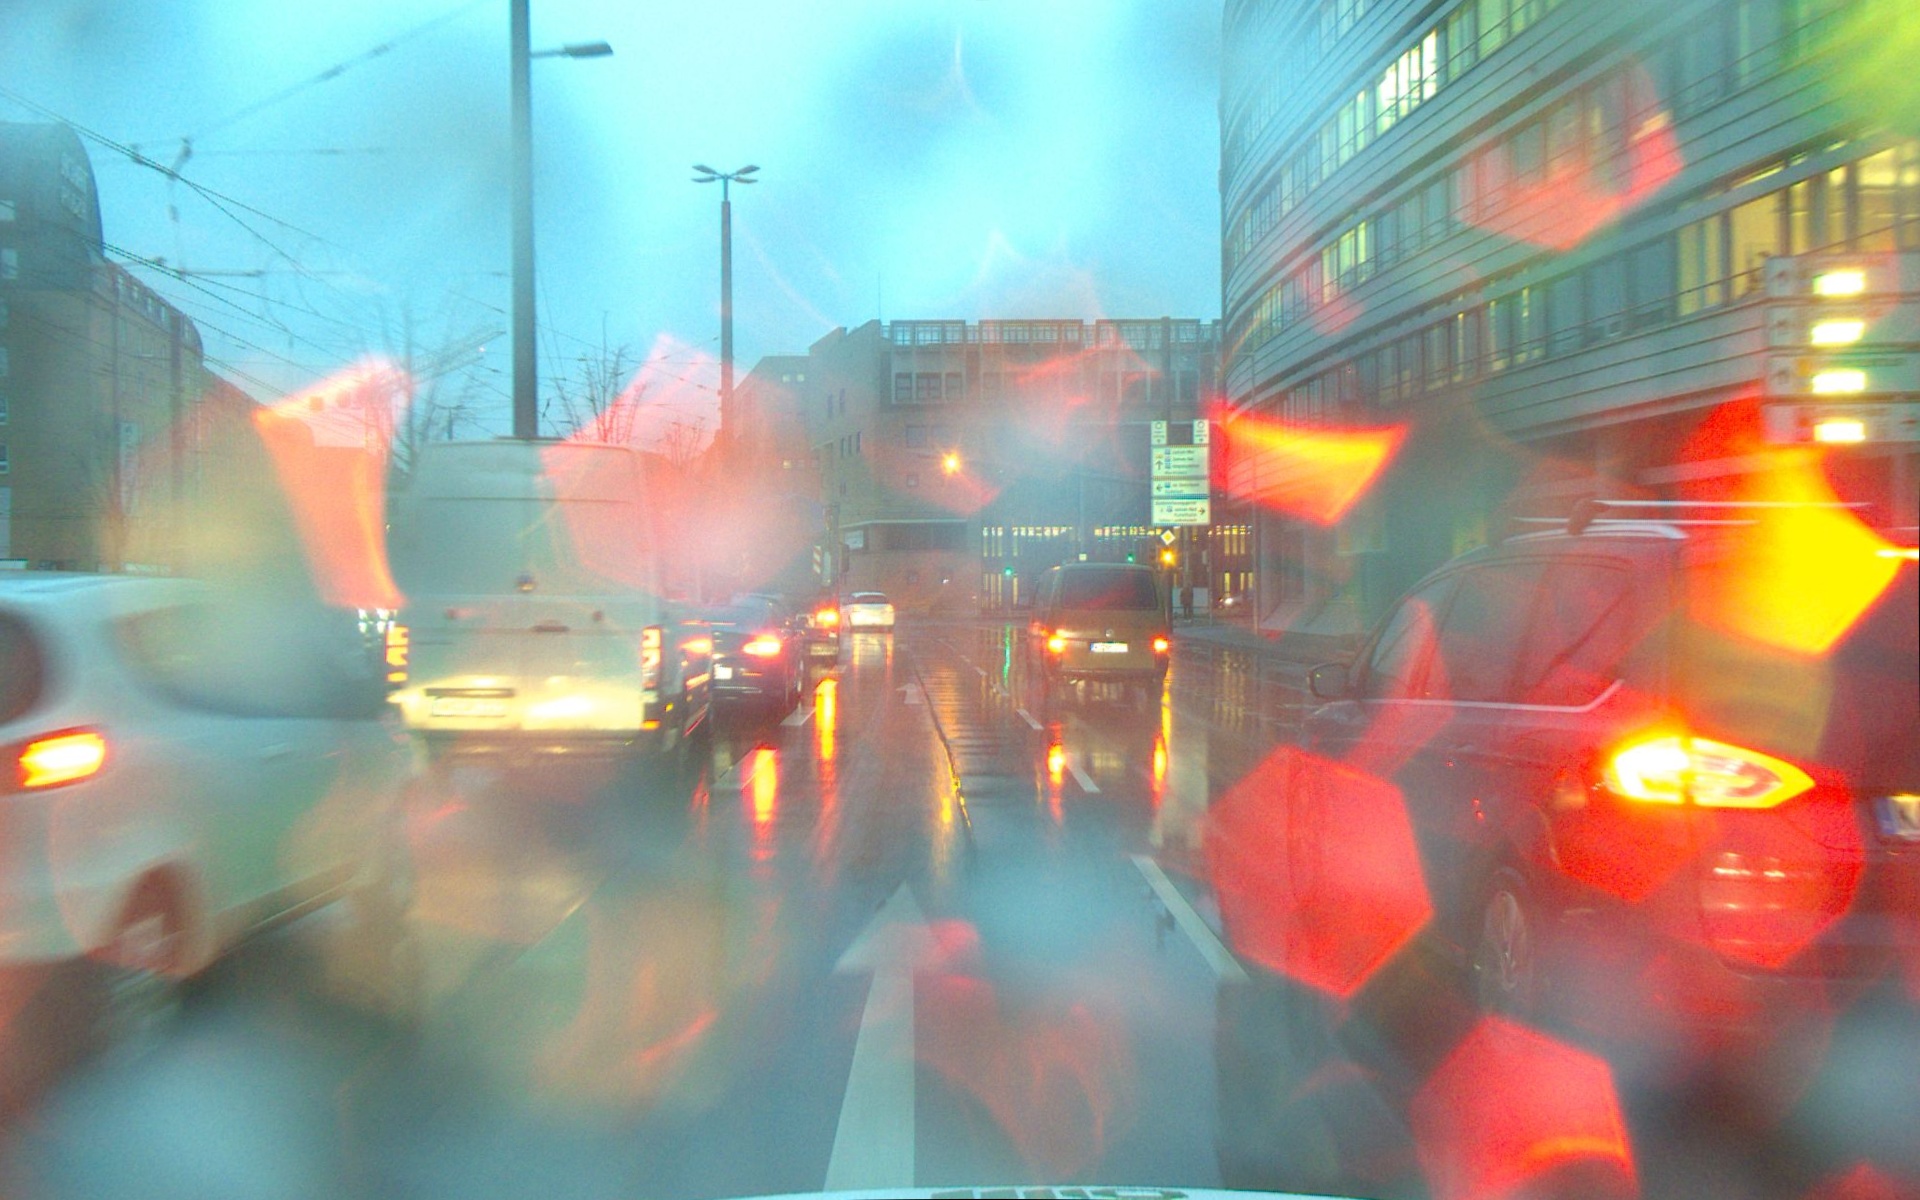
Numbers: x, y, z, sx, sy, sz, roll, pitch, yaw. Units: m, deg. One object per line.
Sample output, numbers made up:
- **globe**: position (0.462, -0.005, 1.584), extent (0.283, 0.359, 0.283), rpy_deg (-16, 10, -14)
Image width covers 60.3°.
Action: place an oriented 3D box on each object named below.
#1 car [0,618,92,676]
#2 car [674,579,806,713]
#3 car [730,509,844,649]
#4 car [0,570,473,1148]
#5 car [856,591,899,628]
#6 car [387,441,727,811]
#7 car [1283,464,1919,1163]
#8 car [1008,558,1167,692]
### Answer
- **car**: position (-25.283, 1.244, 44.914), extent (1.599, 1.475, 3.620), rpy_deg (0, 0, -2)
- **car**: position (-2.725, 0.552, 21.022), extent (1.488, 1.547, 3.467), rpy_deg (0, -1, -5)
- **car**: position (-3.767, -0.437, 37.134), extent (2.308, 2.876, 6.353), rpy_deg (0, 0, -4)
- **car**: position (-3.096, 0.663, 6.166), extent (1.606, 1.522, 3.683), rpy_deg (-1, 1, -3)
- **car**: position (-3.102, 0.343, 62.875), extent (1.480, 1.328, 3.040), rpy_deg (-1, 0, 0)
- **car**: position (-3.128, 0.155, 14.120), extent (1.955, 2.470, 5.967), rpy_deg (-1, 0, -5)
- **car**: position (2.464, 0.544, 6.322), extent (1.640, 1.811, 4.000), rpy_deg (-1, 0, 0)
- **car**: position (1.827, 0.338, 25.078), extent (1.807, 1.837, 4.483), rpy_deg (0, 0, -4)
